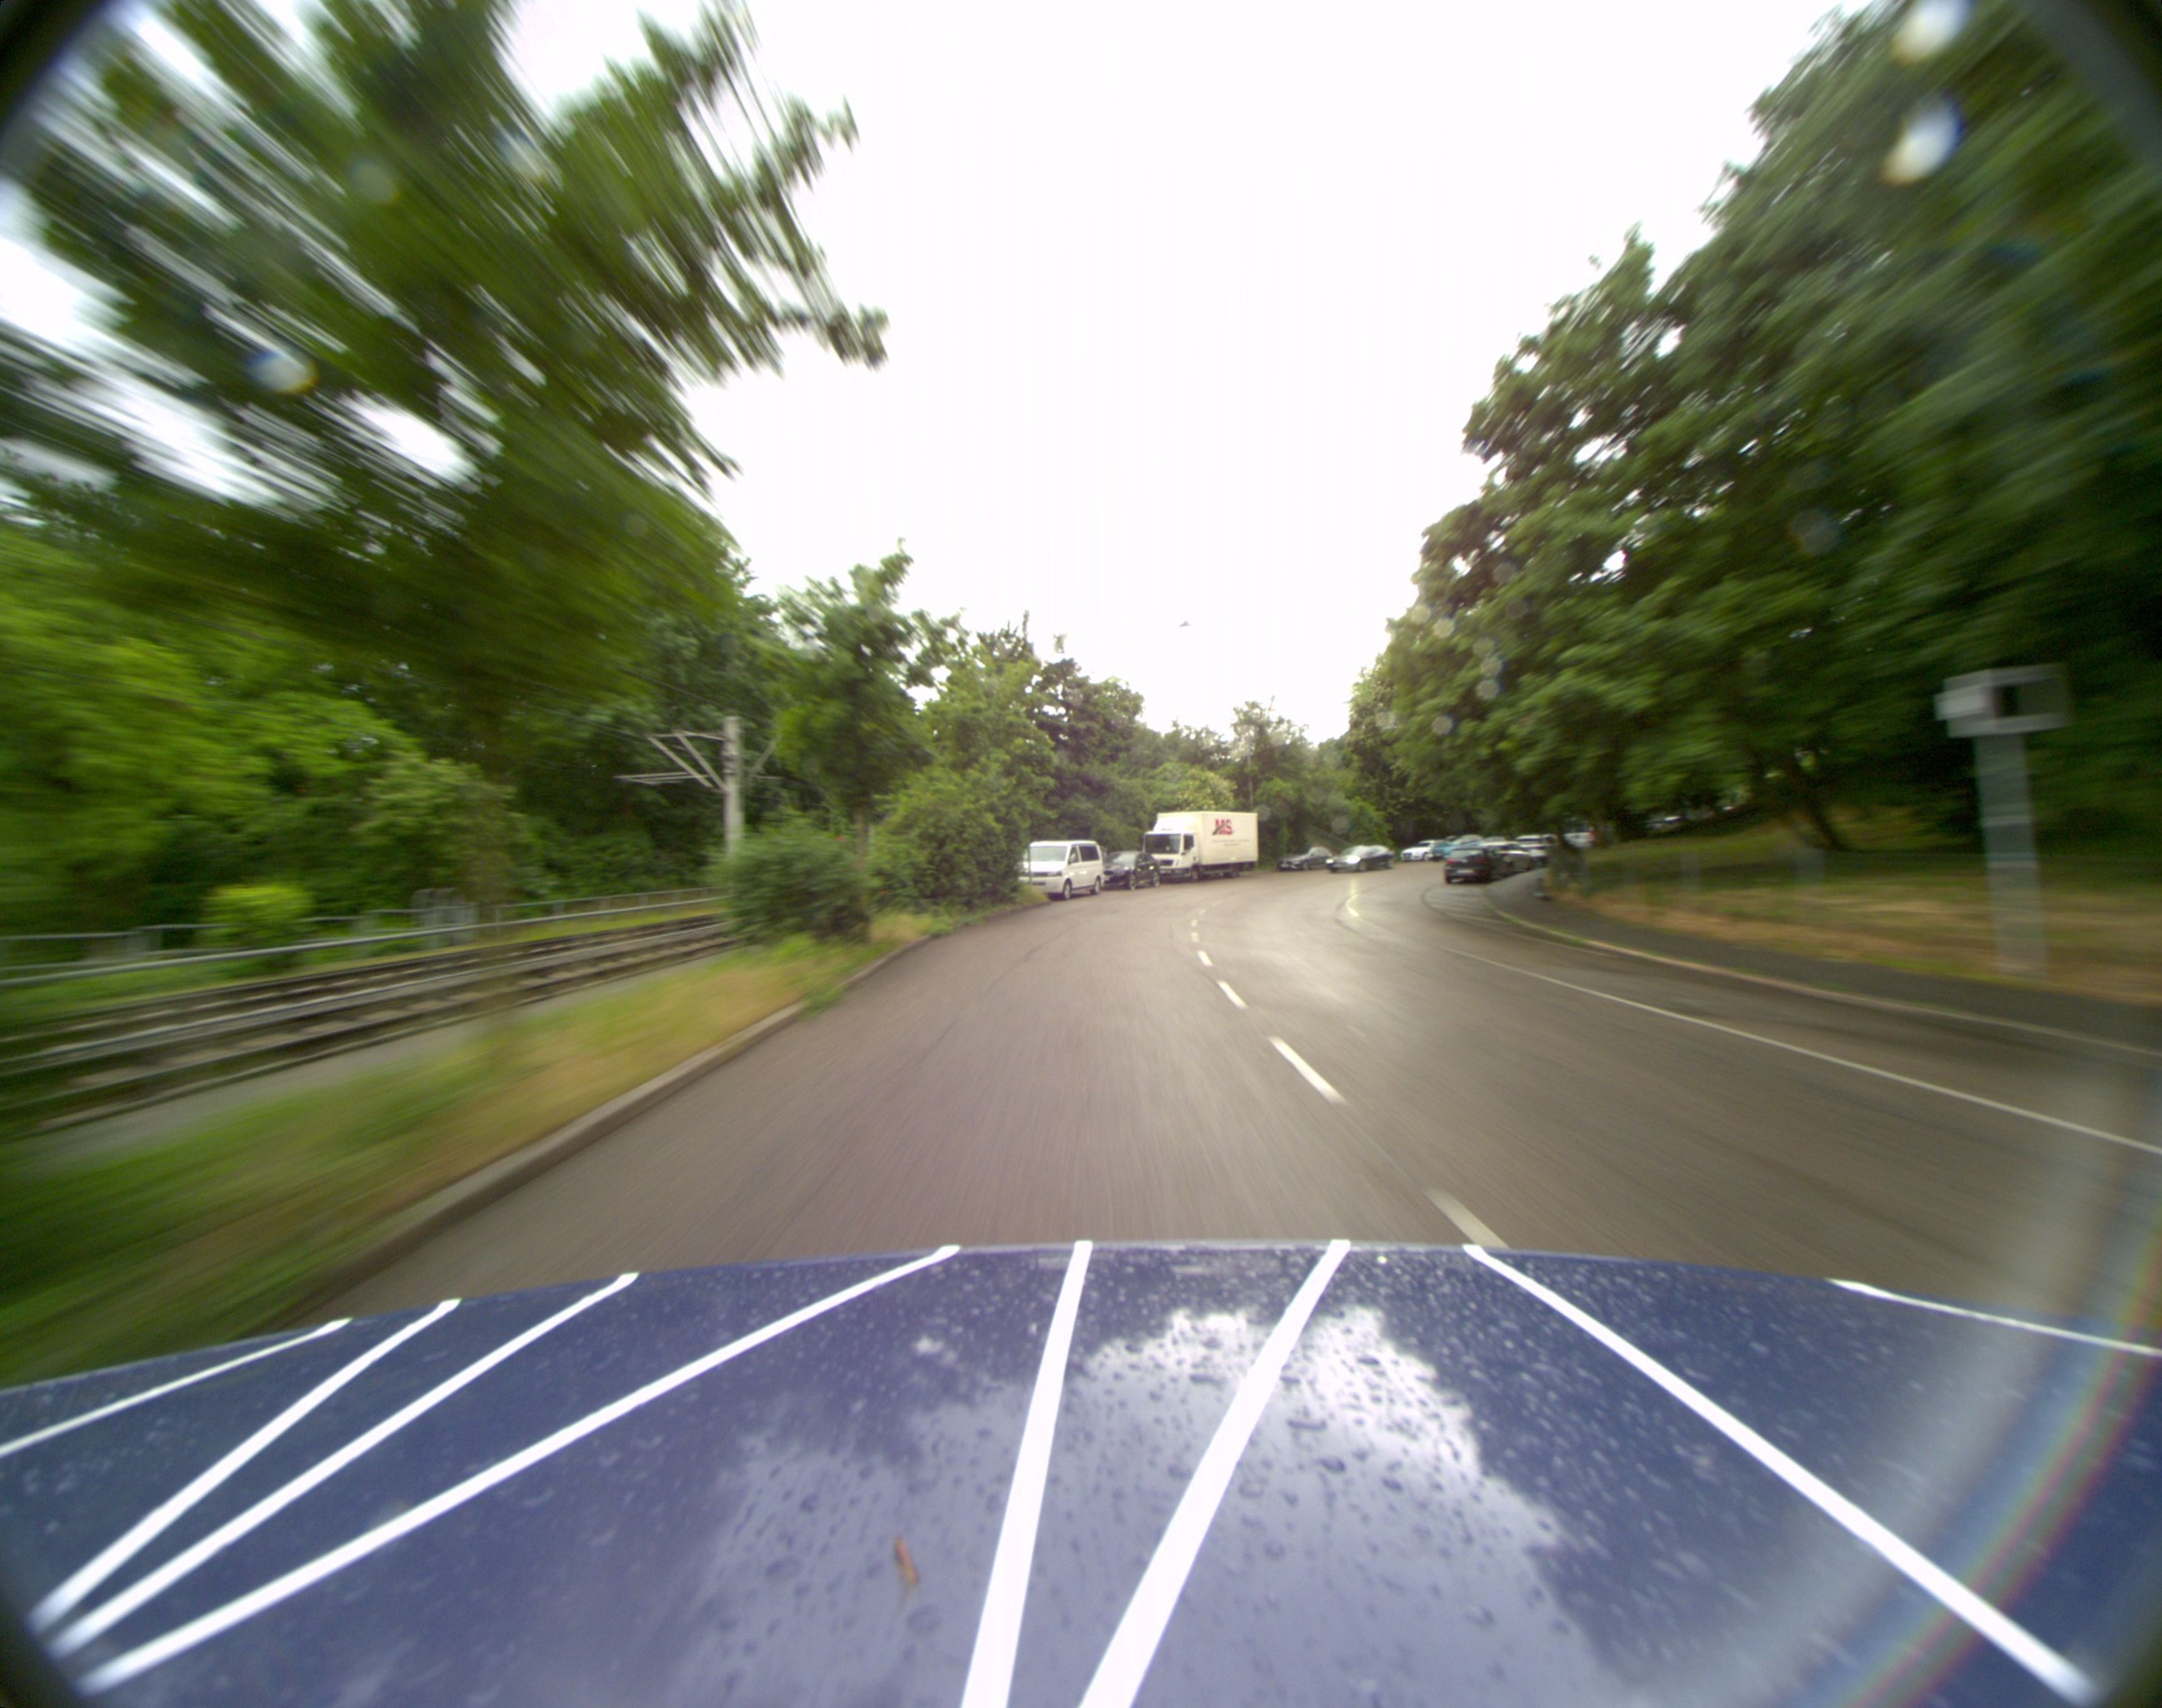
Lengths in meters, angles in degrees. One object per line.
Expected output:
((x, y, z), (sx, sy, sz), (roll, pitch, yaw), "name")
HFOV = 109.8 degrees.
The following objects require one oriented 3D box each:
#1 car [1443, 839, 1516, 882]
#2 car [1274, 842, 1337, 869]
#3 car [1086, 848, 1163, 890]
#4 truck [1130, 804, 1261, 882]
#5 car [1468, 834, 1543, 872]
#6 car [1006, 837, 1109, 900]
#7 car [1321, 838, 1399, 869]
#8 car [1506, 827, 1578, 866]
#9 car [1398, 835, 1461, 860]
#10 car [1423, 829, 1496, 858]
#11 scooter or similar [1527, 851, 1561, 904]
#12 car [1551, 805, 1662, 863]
((16.157, 0.241, 30.711), (1.774, 1.435, 4.022), (-2, 2, 39), "car")
((13.995, 0.055, 47.221), (4.132, 1.436, 1.722), (-4, 1, -40), "car")
((1.940, 0.594, 32.435), (1.719, 1.547, 4.283), (-1, 1, 26), "car")
((6.070, -0.613, 38.862), (3.008, 3.553, 8.352), (0, 2, 37), "truck")
((19.394, -0.049, 34.632), (4.054, 1.448, 1.753), (-5, 2, -42), "car")
((-0.711, 0.471, 26.540), (1.878, 2.002, 4.698), (-1, 0, 21), "car")
((15.589, -0.029, 42.347), (4.508, 1.530, 1.895), (-3, 0, -38), "car")
((23.017, -0.401, 37.904), (4.031, 1.574, 1.805), (-6, 3, -40), "car")
((24.795, -0.465, 54.110), (4.100, 1.392, 1.758), (-4, -1, -25), "car")
((24.643, -0.689, 49.429), (4.536, 1.660, 1.996), (-3, 0, -29), "car")
((12.366, 0.613, 20.281), (0.608, 1.261, 1.440), (-7, 0, 34), "scooter or similar")
((28.939, -1.181, 41.827), (6.353, 2.538, 2.074), (-6, 8, -26), "car")
